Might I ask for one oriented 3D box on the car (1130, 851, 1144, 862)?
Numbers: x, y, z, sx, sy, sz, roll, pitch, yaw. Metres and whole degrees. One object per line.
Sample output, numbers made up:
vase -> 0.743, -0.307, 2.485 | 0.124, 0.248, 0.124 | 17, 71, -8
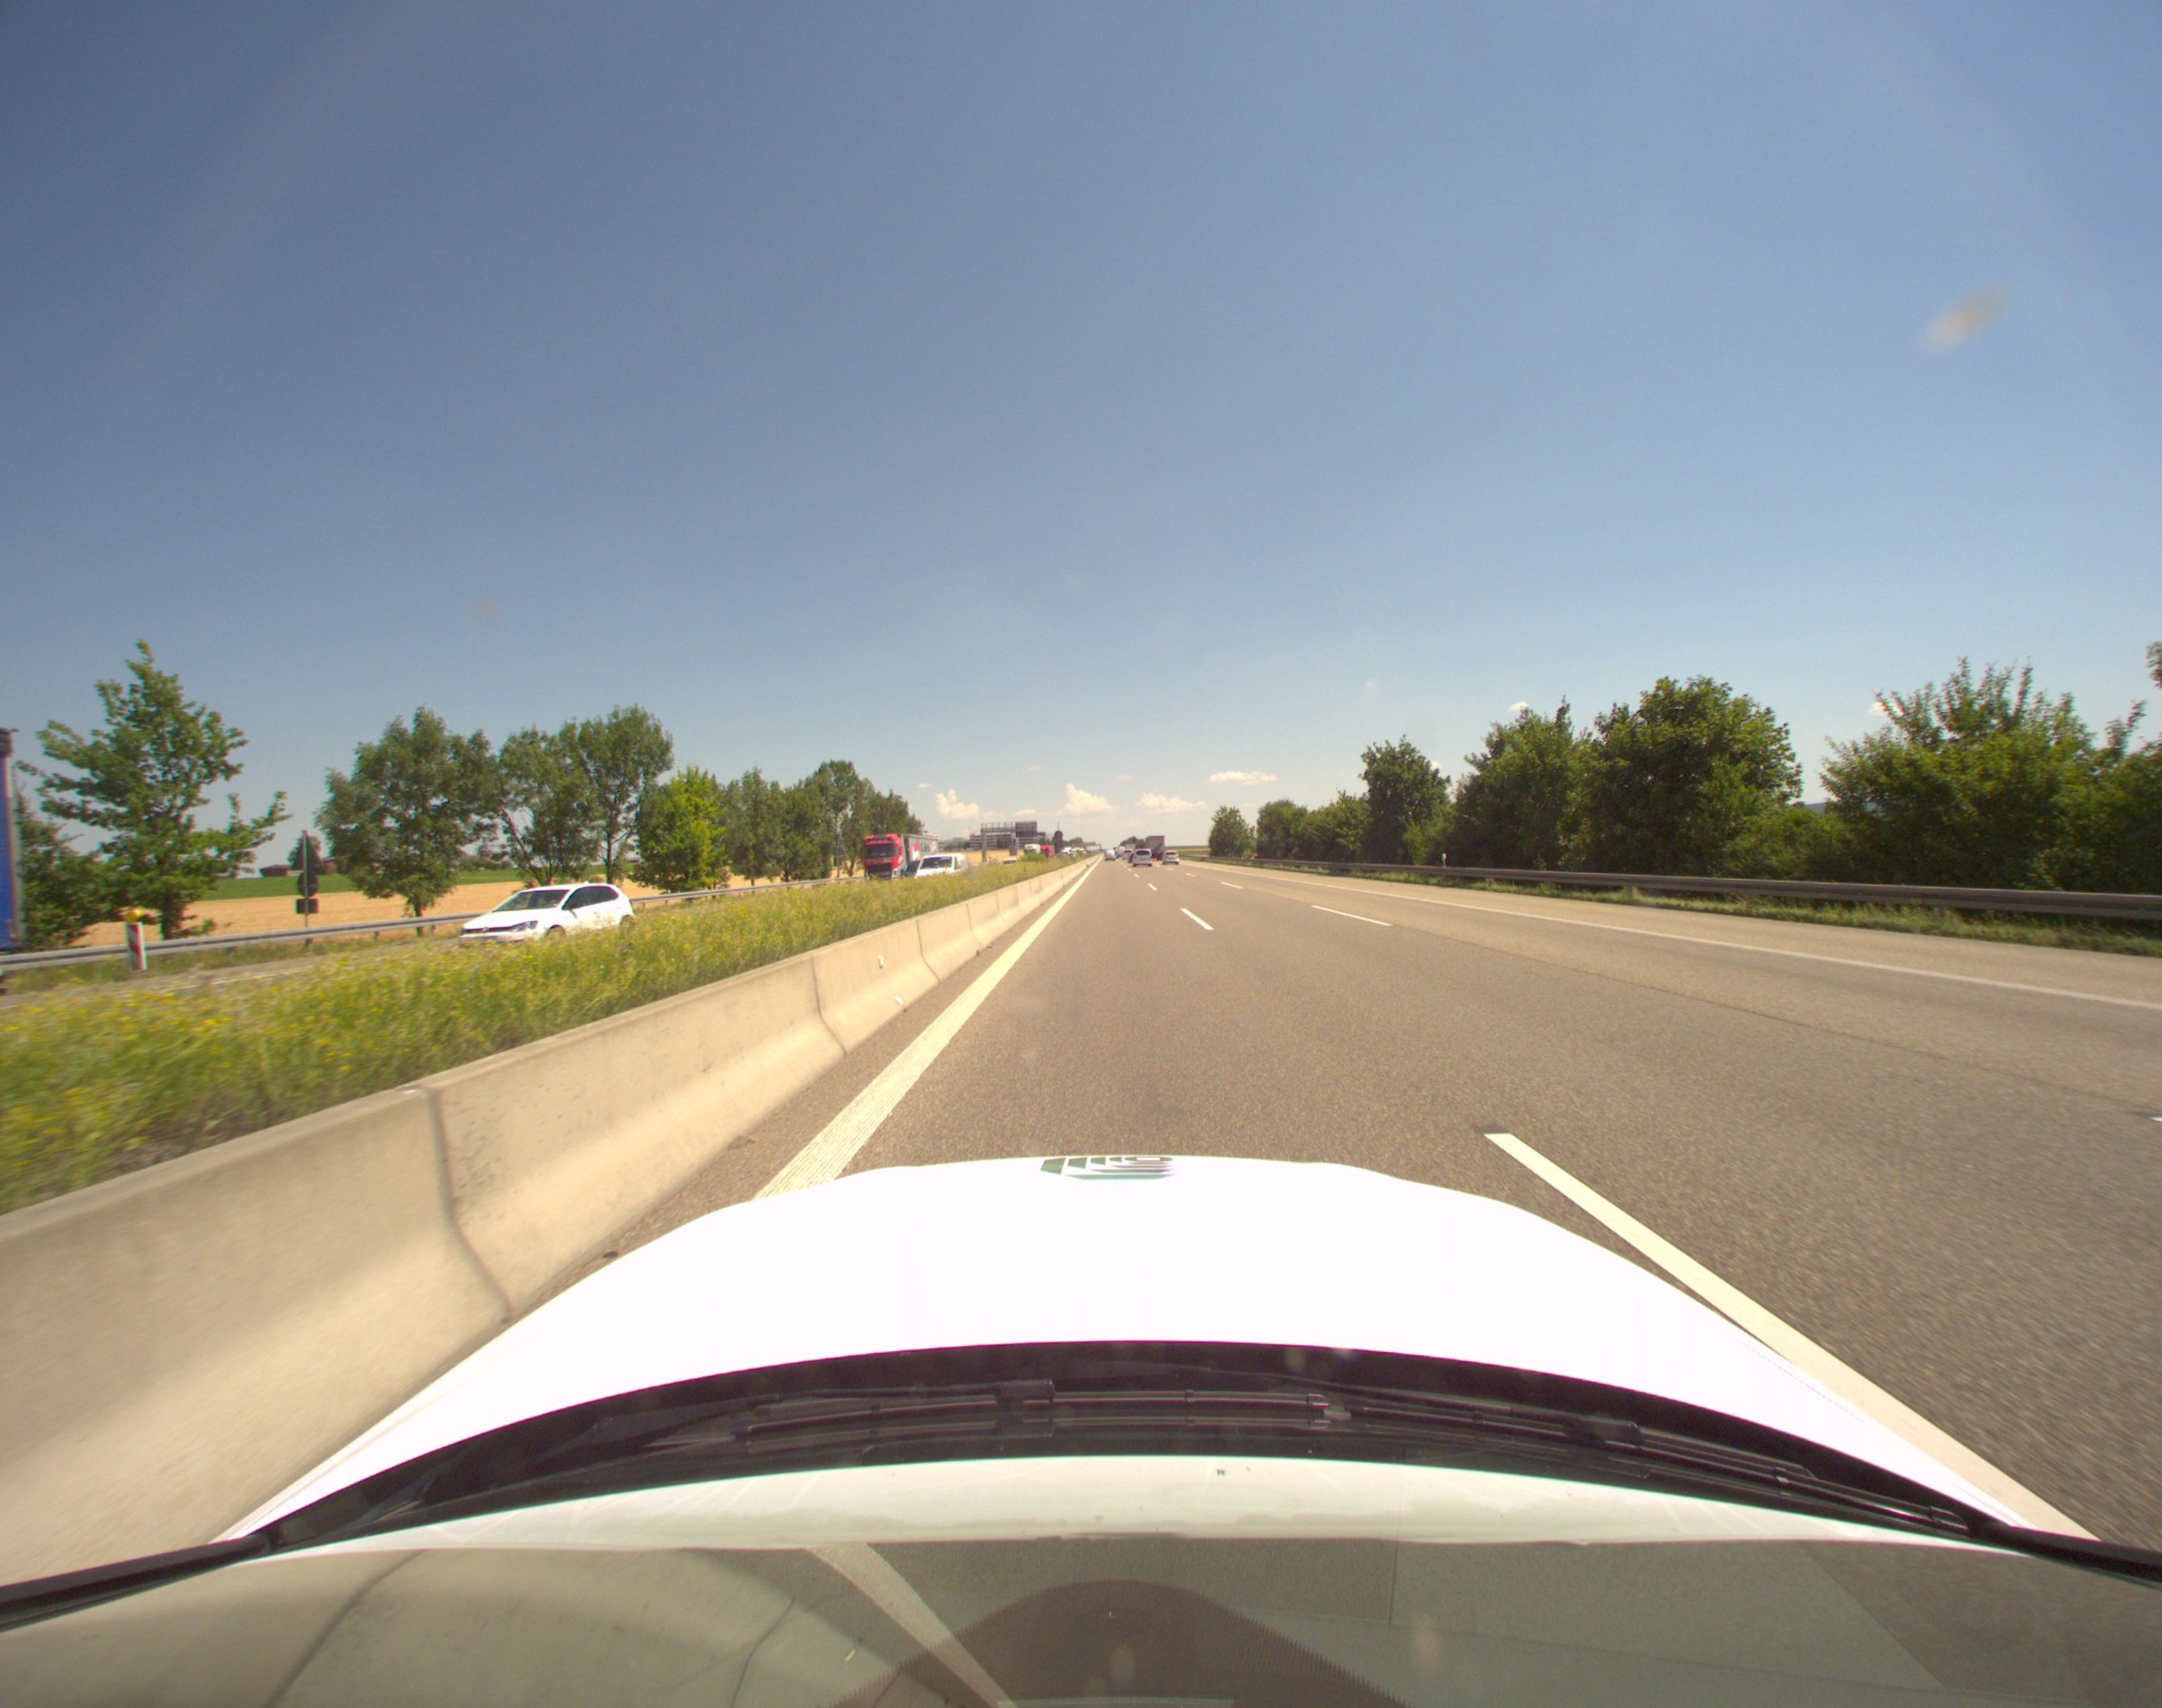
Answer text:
car -> 7.937, 0.408, 115.294 | 1.766, 1.447, 4.001 | -2, -1, 2

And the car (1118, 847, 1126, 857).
car -> 10.569, -0.530, 210.033 | 1.766, 2.392, 4.001 | -1, -1, 2

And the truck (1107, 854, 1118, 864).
truck -> 6.740, 1.125, 176.623 | 2.204, 2.013, 4.972 | -2, 0, 1

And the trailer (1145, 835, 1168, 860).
trailer -> 12.587, -0.988, 137.032 | 3.265, 3.967, 9.115 | -1, -1, 2

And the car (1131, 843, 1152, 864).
car -> 6.460, 0.002, 86.808 | 1.986, 2.120, 4.001 | -1, -1, 2

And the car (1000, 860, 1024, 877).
car -> -6.032, 1.251, 71.922 | 1.688, 1.417, 3.816 | -2, 0, 1

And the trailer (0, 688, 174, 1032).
trailer -> -15.287, 0.118, 5.348 | 2.872, 4.350, 13.649 | -3, 0, 2

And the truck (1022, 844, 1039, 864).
truck -> -10.923, -0.001, 176.936 | 2.939, 4.158, 5.473 | -3, 0, 1

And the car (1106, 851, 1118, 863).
car -> 5.332, 0.499, 142.161 | 1.986, 2.014, 4.001 | -1, -1, 2

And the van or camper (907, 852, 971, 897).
van or camper -> -6.710, 0.906, 39.073 | 1.986, 1.933, 5.202 | -2, 0, 1

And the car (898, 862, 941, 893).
car -> -10.015, 1.418, 50.853 | 1.688, 1.727, 4.262 | -2, 0, 1

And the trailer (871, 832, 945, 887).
trailer -> -13.765, 0.410, 66.129 | 2.845, 3.855, 12.190 | -3, 0, 2

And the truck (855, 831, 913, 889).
truck -> -13.995, 0.408, 58.051 | 2.846, 3.855, 4.001 | -3, 0, 1

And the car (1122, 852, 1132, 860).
car -> 8.806, 0.372, 156.818 | 1.766, 1.447, 4.001 | -2, -1, 2

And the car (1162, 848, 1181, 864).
car -> 10.813, 0.261, 97.720 | 1.986, 1.794, 4.001 | -1, -1, 2

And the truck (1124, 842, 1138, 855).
truck -> 15.949, -1.812, 260.513 | 3.802, 3.905, 9.583 | -2, 0, 2

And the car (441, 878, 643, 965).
car -> -11.223, 1.328, 17.308 | 1.611, 1.464, 3.865 | -2, 0, 1
